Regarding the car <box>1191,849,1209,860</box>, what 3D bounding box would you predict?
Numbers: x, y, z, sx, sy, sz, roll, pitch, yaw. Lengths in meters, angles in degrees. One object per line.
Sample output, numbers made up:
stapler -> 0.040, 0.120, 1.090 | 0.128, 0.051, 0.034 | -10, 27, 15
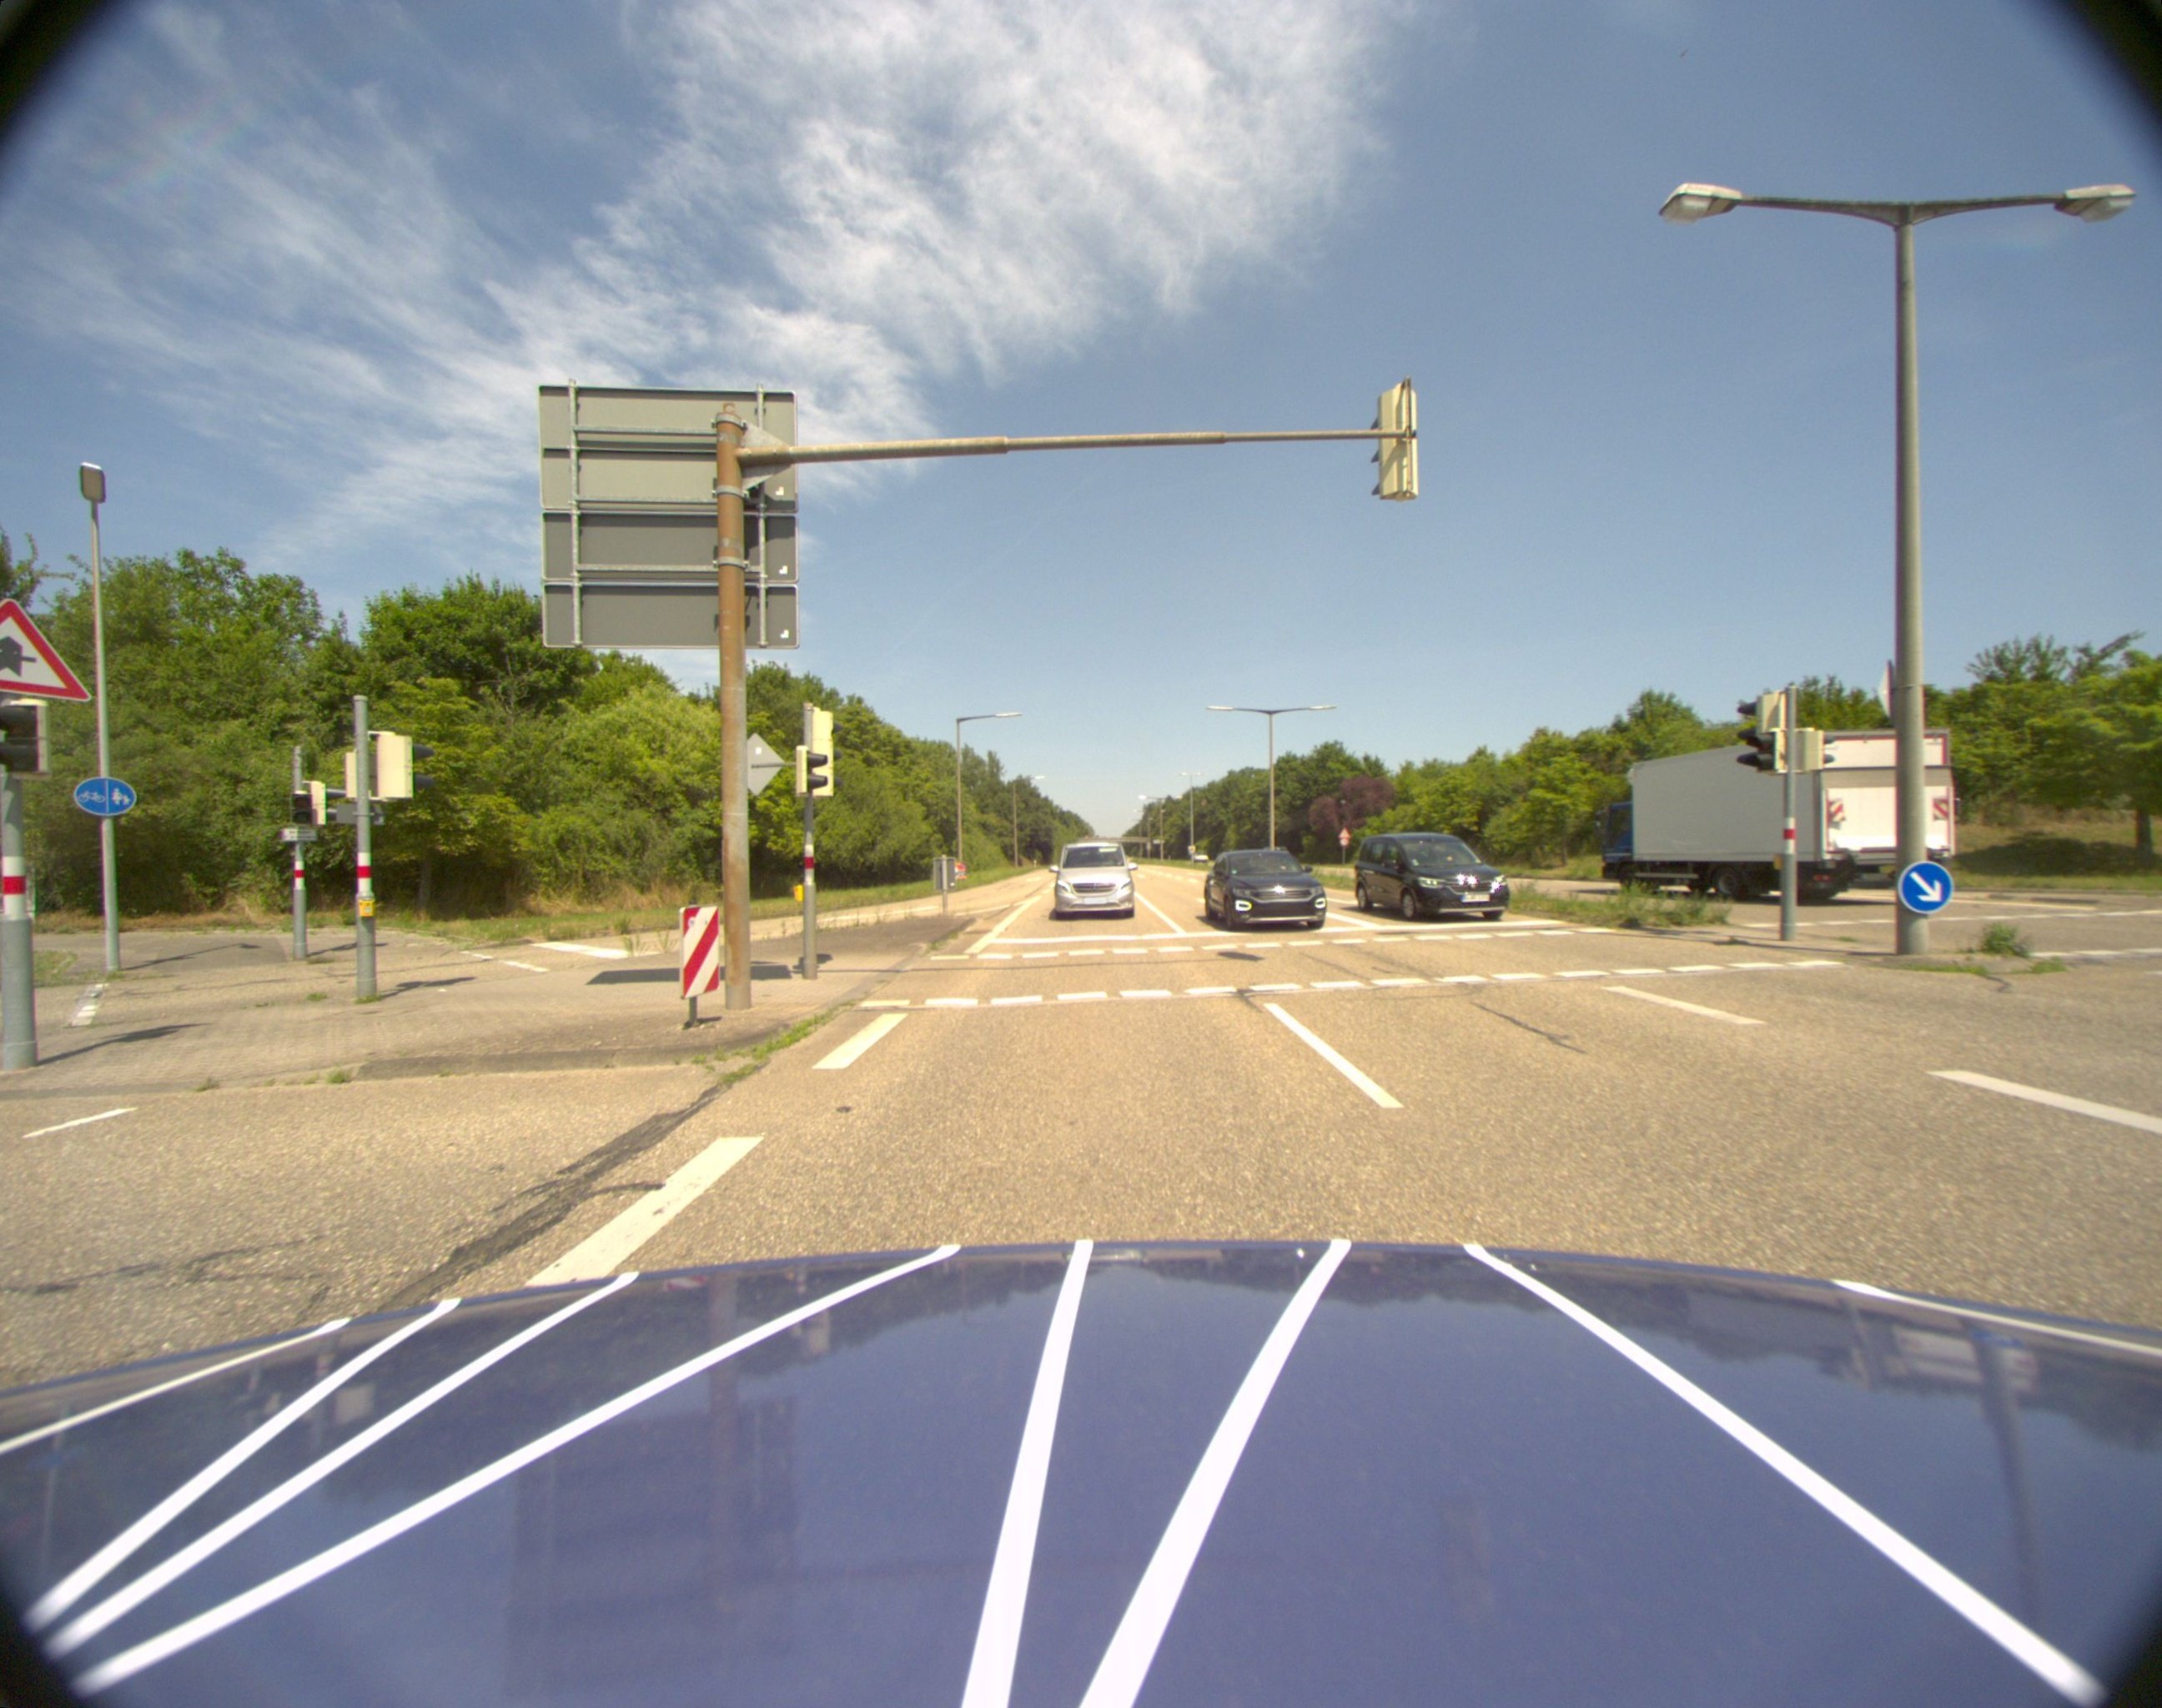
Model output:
car -> 16.873, 0.096, 107.687 | 1.827, 1.447, 4.168 | -1, 0, -1

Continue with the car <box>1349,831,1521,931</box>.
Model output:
car -> 7.375, 0.499, 16.355 | 1.735, 1.815, 4.321 | -1, 0, 1

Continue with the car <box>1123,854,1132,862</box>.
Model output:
car -> 10.729, 0.951, 175.652 | 1.735, 1.815, 4.321 | -1, 0, 1

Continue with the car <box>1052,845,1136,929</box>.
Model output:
car -> 0.349, 0.713, 19.160 | 1.764, 1.794, 4.855 | -3, 0, 1

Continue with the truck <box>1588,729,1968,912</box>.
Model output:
truck -> 16.196, -0.660, 18.648 | 2.694, 3.549, 7.267 | -1, 0, 1

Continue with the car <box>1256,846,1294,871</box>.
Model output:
car -> 13.808, 0.308, 54.210 | 1.711, 1.653, 4.223 | -1, 0, 2

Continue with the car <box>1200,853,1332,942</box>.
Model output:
car -> 3.605, 0.774, 15.499 | 1.738, 1.503, 3.970 | -3, 0, 1
